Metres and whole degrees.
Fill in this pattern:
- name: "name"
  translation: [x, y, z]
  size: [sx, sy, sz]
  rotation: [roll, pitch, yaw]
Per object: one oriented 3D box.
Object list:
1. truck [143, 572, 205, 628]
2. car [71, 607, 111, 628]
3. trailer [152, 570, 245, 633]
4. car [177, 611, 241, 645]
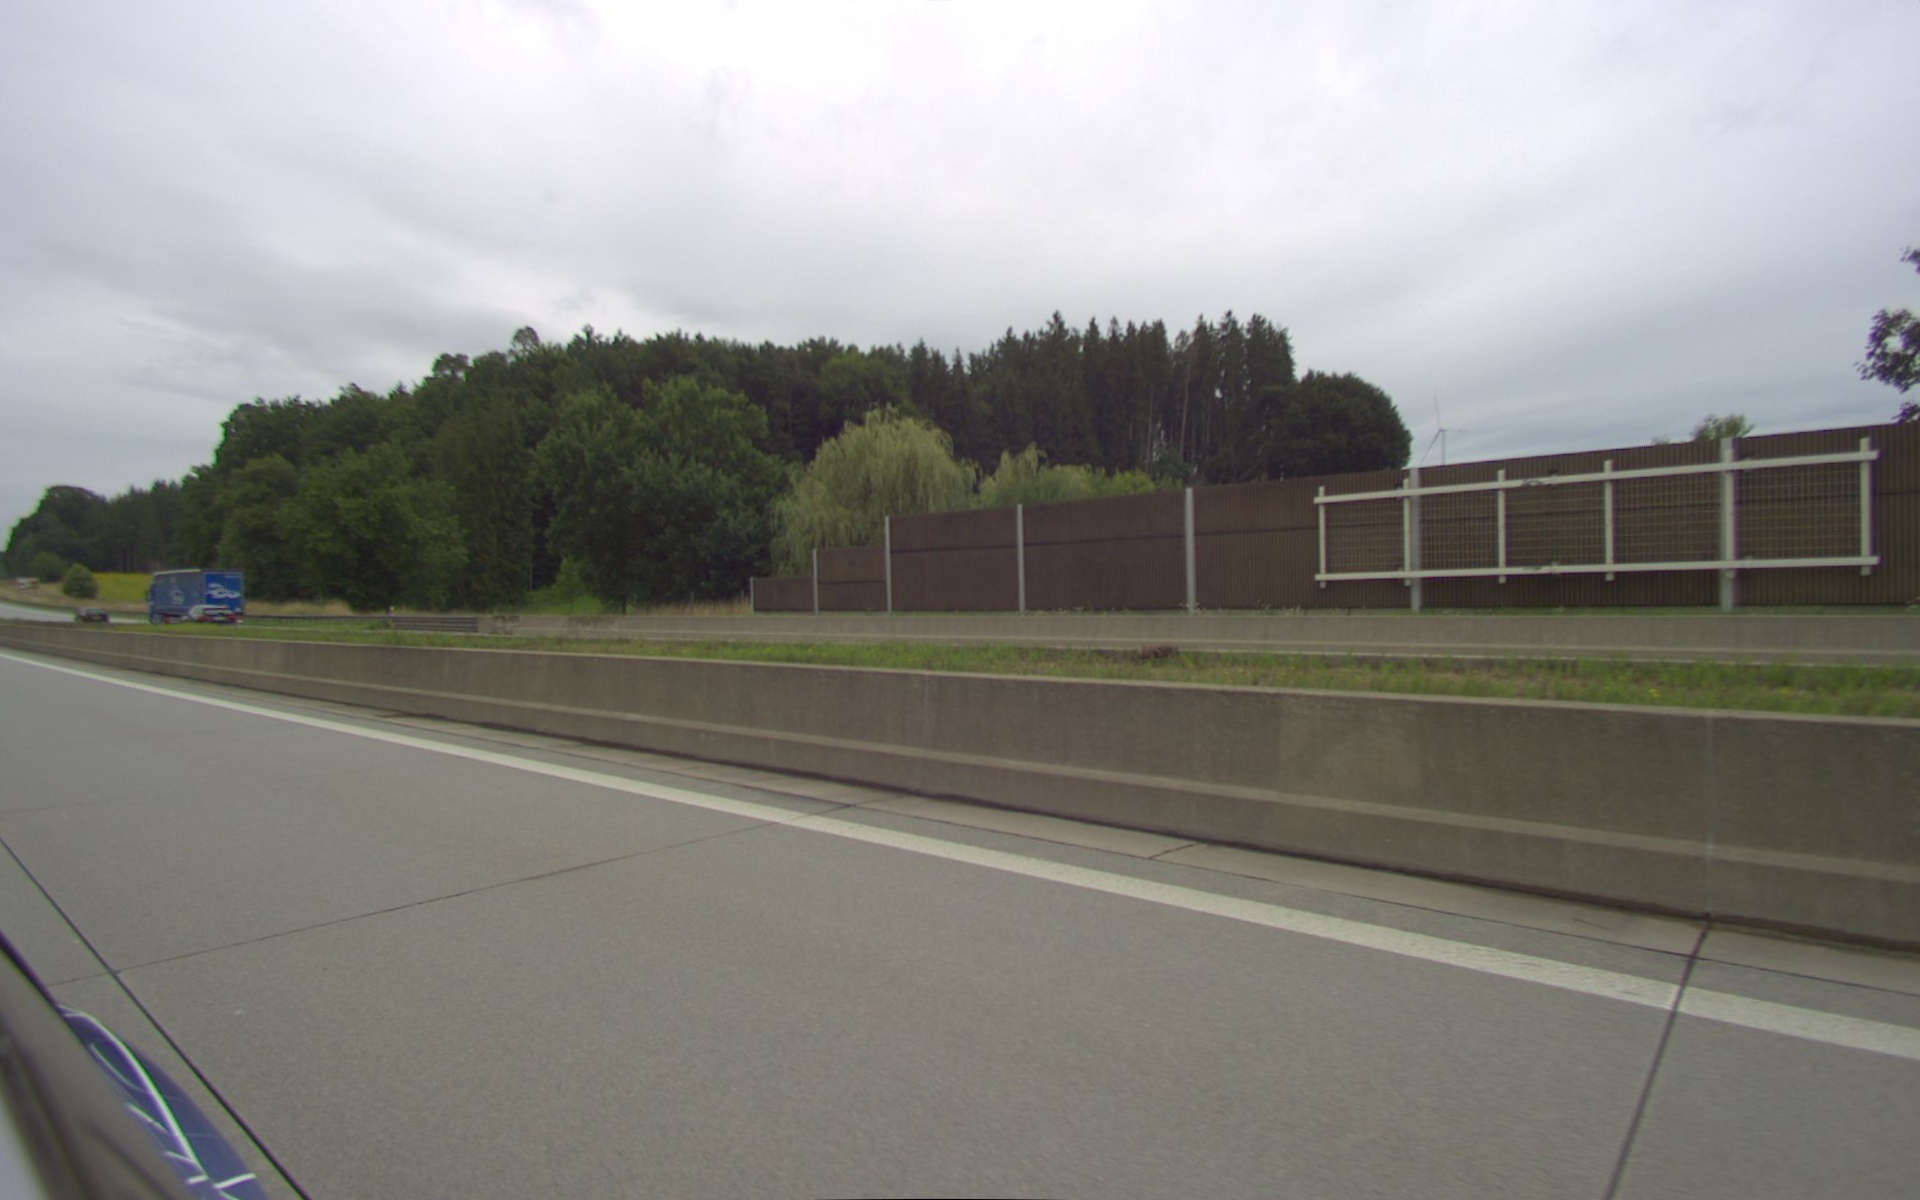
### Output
- name: "truck"
  translation: [-61.015, -0.076, 78.532]
  size: [6.208, 4.220, 2.664]
  rotation: [1, 1, 41]
- name: "car"
  translation: [-68.003, 1.337, 79.162]
  size: [4.515, 1.511, 1.620]
  rotation: [1, 1, 40]
- name: "trailer"
  translation: [-55.813, -0.010, 73.981]
  size: [13.787, 4.240, 2.682]
  rotation: [1, 2, 41]
- name: "car"
  translation: [-41.412, 1.498, 55.767]
  size: [4.729, 1.780, 1.798]
  rotation: [0, 1, 40]
